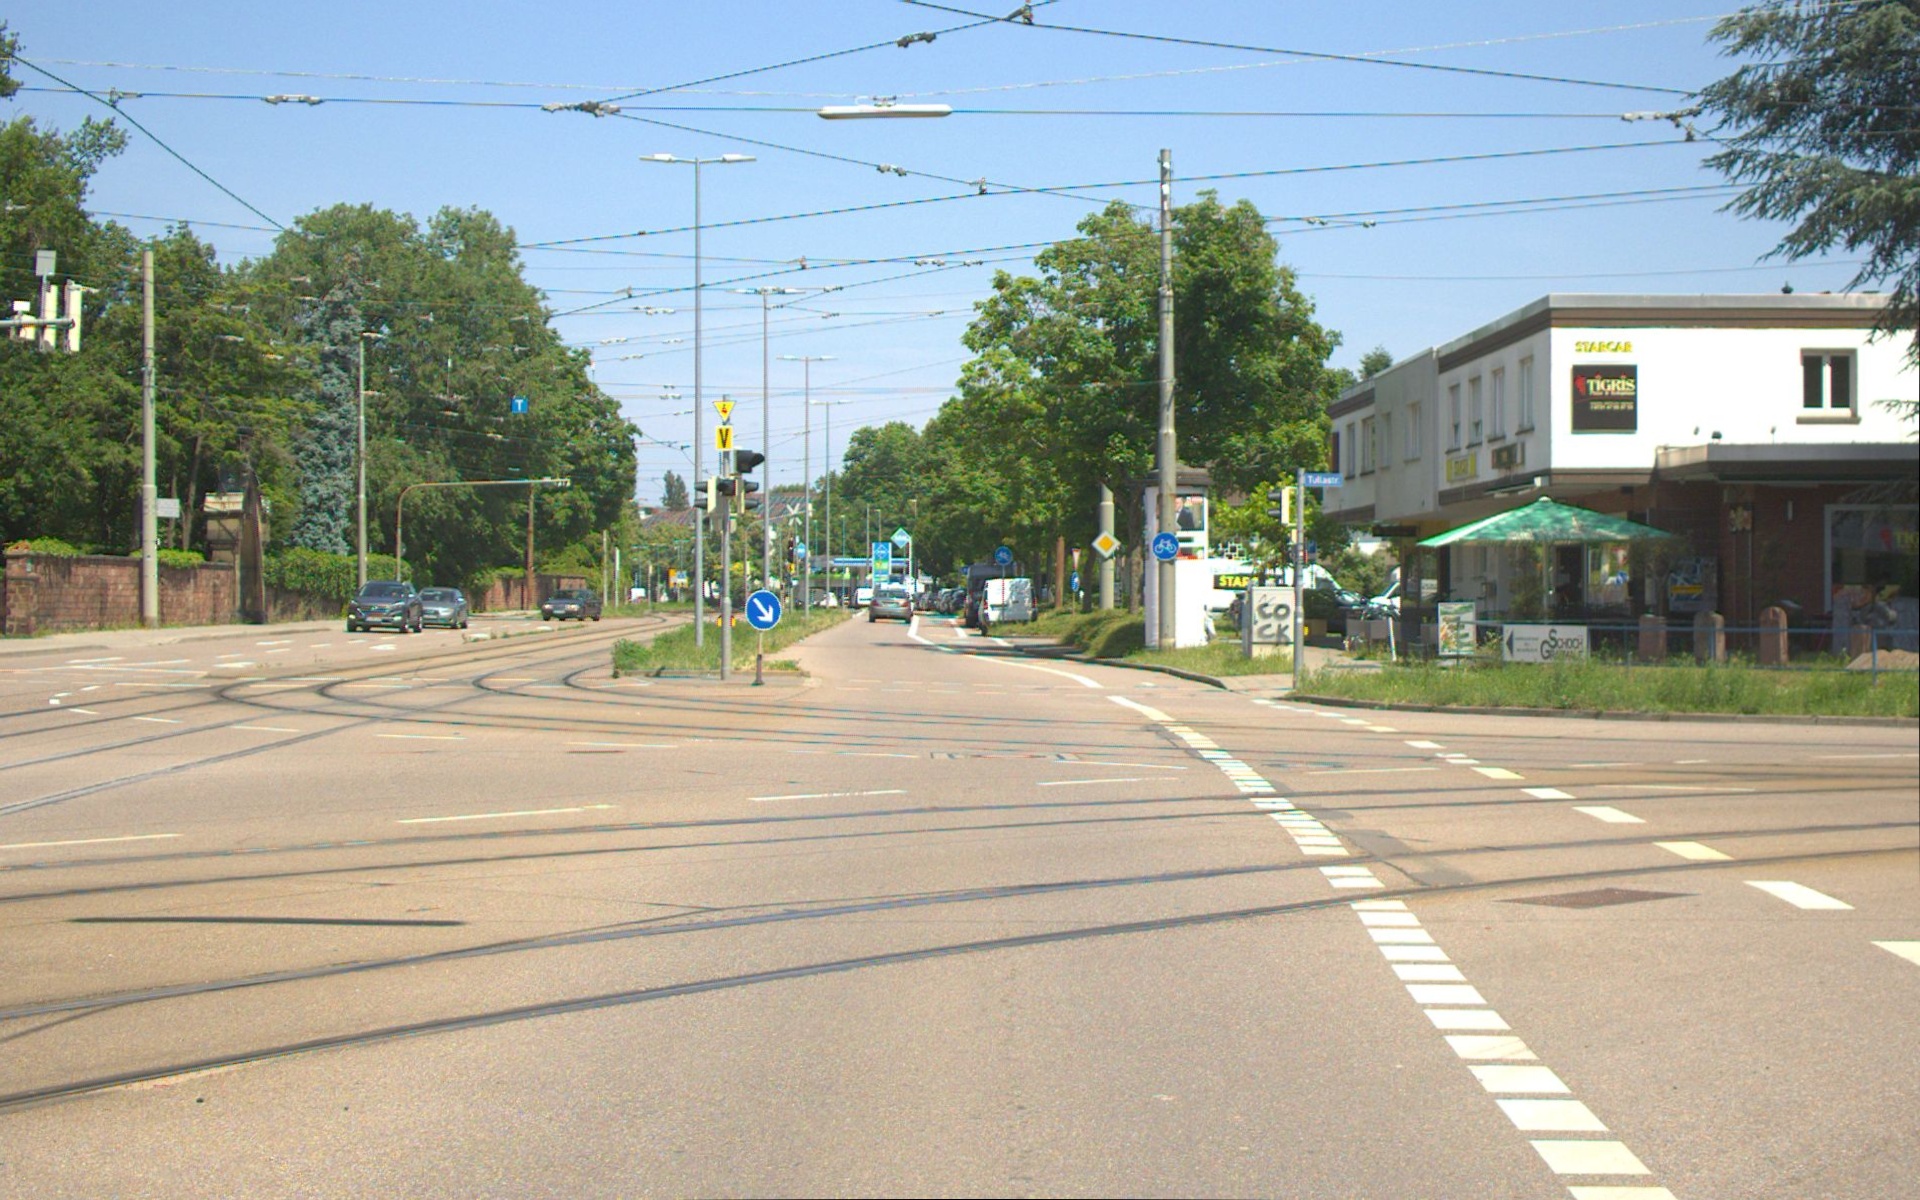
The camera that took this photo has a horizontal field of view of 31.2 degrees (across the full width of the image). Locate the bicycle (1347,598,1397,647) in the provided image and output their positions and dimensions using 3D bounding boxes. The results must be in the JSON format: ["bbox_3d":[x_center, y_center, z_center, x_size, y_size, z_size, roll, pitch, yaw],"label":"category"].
[{"bbox_3d":[8.765,0.472,73.265,1.034,1.011,2.636,0,0,7],"label":"bicycle"}]

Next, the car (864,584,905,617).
[{"bbox_3d":[-3.208,0.021,145.763,1.636,1.346,3.842,0,0,-3],"label":"car"}]

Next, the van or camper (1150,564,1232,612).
[{"bbox_3d":[10.553,-0.554,157.041,3.557,2.138,1.603,0,0,-2],"label":"van or camper"}]

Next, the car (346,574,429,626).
[{"bbox_3d":[-18.045,-0.011,108.593,1.820,1.598,4.520,0,0,1],"label":"car"}]

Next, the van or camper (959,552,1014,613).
[{"bbox_3d":[1.078,-0.714,141.548,1.993,2.456,4.000,0,0,-3],"label":"van or camper"}]

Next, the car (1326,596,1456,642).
[{"bbox_3d":[12.944,0.568,103.373,3.606,1.346,1.491,0,0,-6],"label":"car"}]

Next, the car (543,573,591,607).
[{"bbox_3d":[-17.090,-0.444,149.632,1.641,1.395,4.116,2,0,-1],"label":"car"}]

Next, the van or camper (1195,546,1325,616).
[{"bbox_3d":[11.525,-0.723,132.227,4.756,2.662,2.136,0,0,-2],"label":"van or camper"}]

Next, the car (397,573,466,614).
[{"bbox_3d":[-18.429,-0.231,120.054,1.641,1.416,4.167,0,0,2],"label":"car"}]

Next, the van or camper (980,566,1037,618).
[{"bbox_3d":[1.668,-0.297,119.070,1.922,1.766,4.000,0,0,0],"label":"van or camper"}]
